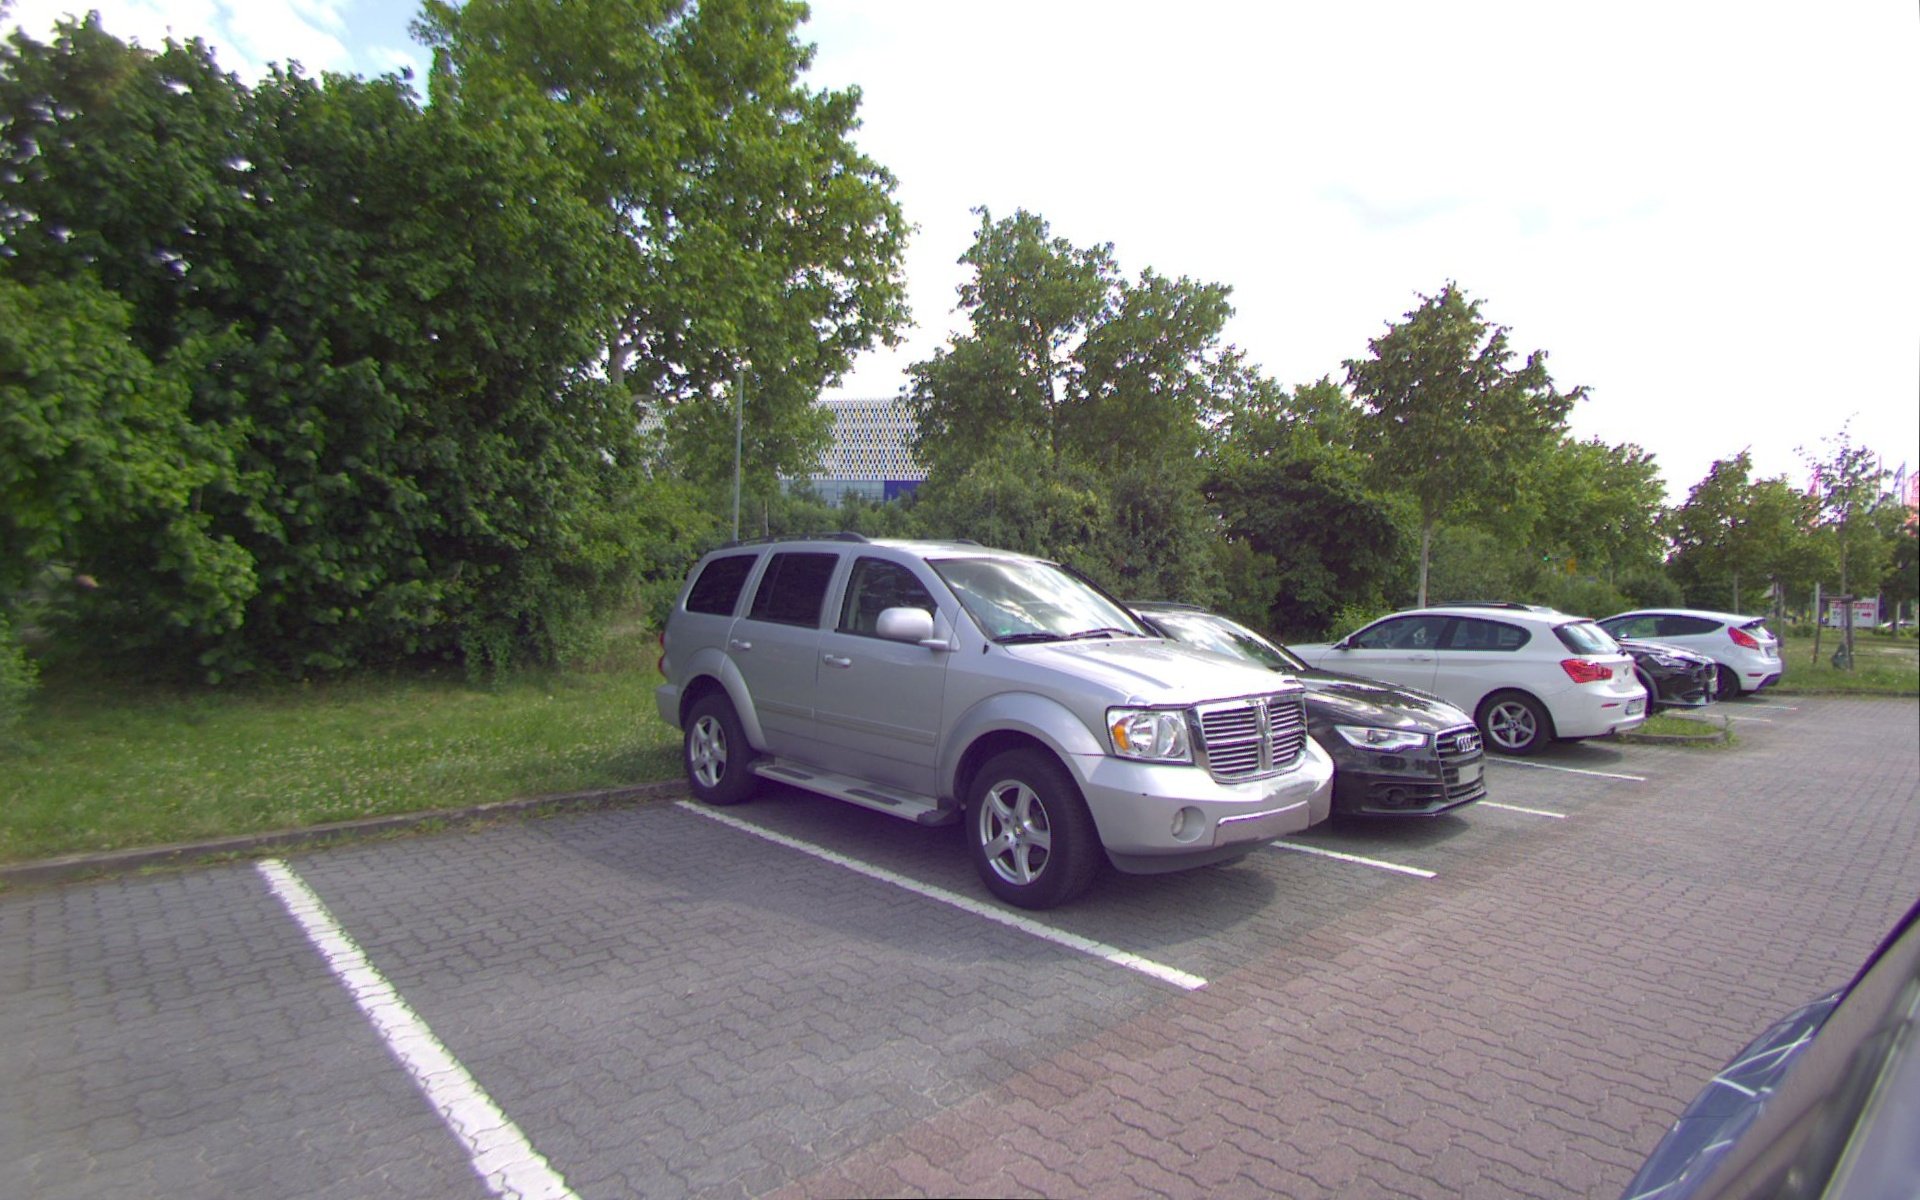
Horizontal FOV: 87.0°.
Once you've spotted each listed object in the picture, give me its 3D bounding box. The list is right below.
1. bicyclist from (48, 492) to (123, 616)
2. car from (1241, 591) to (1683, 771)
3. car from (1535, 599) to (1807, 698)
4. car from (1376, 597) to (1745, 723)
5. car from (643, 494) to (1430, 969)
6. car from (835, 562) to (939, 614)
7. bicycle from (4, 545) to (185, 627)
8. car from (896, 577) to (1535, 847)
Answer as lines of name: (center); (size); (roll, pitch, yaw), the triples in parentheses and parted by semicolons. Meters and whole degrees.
bicyclist: (-11.794, -0.601, 13.649); (0.749, 1.612, 0.635); (0, -1, -43)
car: (5.351, 0.710, 11.230); (1.661, 1.528, 4.076); (0, 2, -41)
car: (12.264, 0.760, 17.634); (1.640, 1.429, 3.555); (1, 1, -38)
car: (8.441, 0.734, 14.519); (1.704, 1.428, 4.234); (1, 1, -43)
car: (0.011, 0.447, 6.552); (1.956, 1.865, 5.139); (1, 1, -42)
car: (-2.987, -0.489, 41.948); (3.933, 2.039, 1.996); (0, 1, -43)
bicycle: (-11.709, -0.183, 13.740); (1.839, 1.051, 0.526); (0, -1, -43)
car: (1.704, 0.605, 8.100); (1.809, 1.469, 4.714); (1, 1, -44)
